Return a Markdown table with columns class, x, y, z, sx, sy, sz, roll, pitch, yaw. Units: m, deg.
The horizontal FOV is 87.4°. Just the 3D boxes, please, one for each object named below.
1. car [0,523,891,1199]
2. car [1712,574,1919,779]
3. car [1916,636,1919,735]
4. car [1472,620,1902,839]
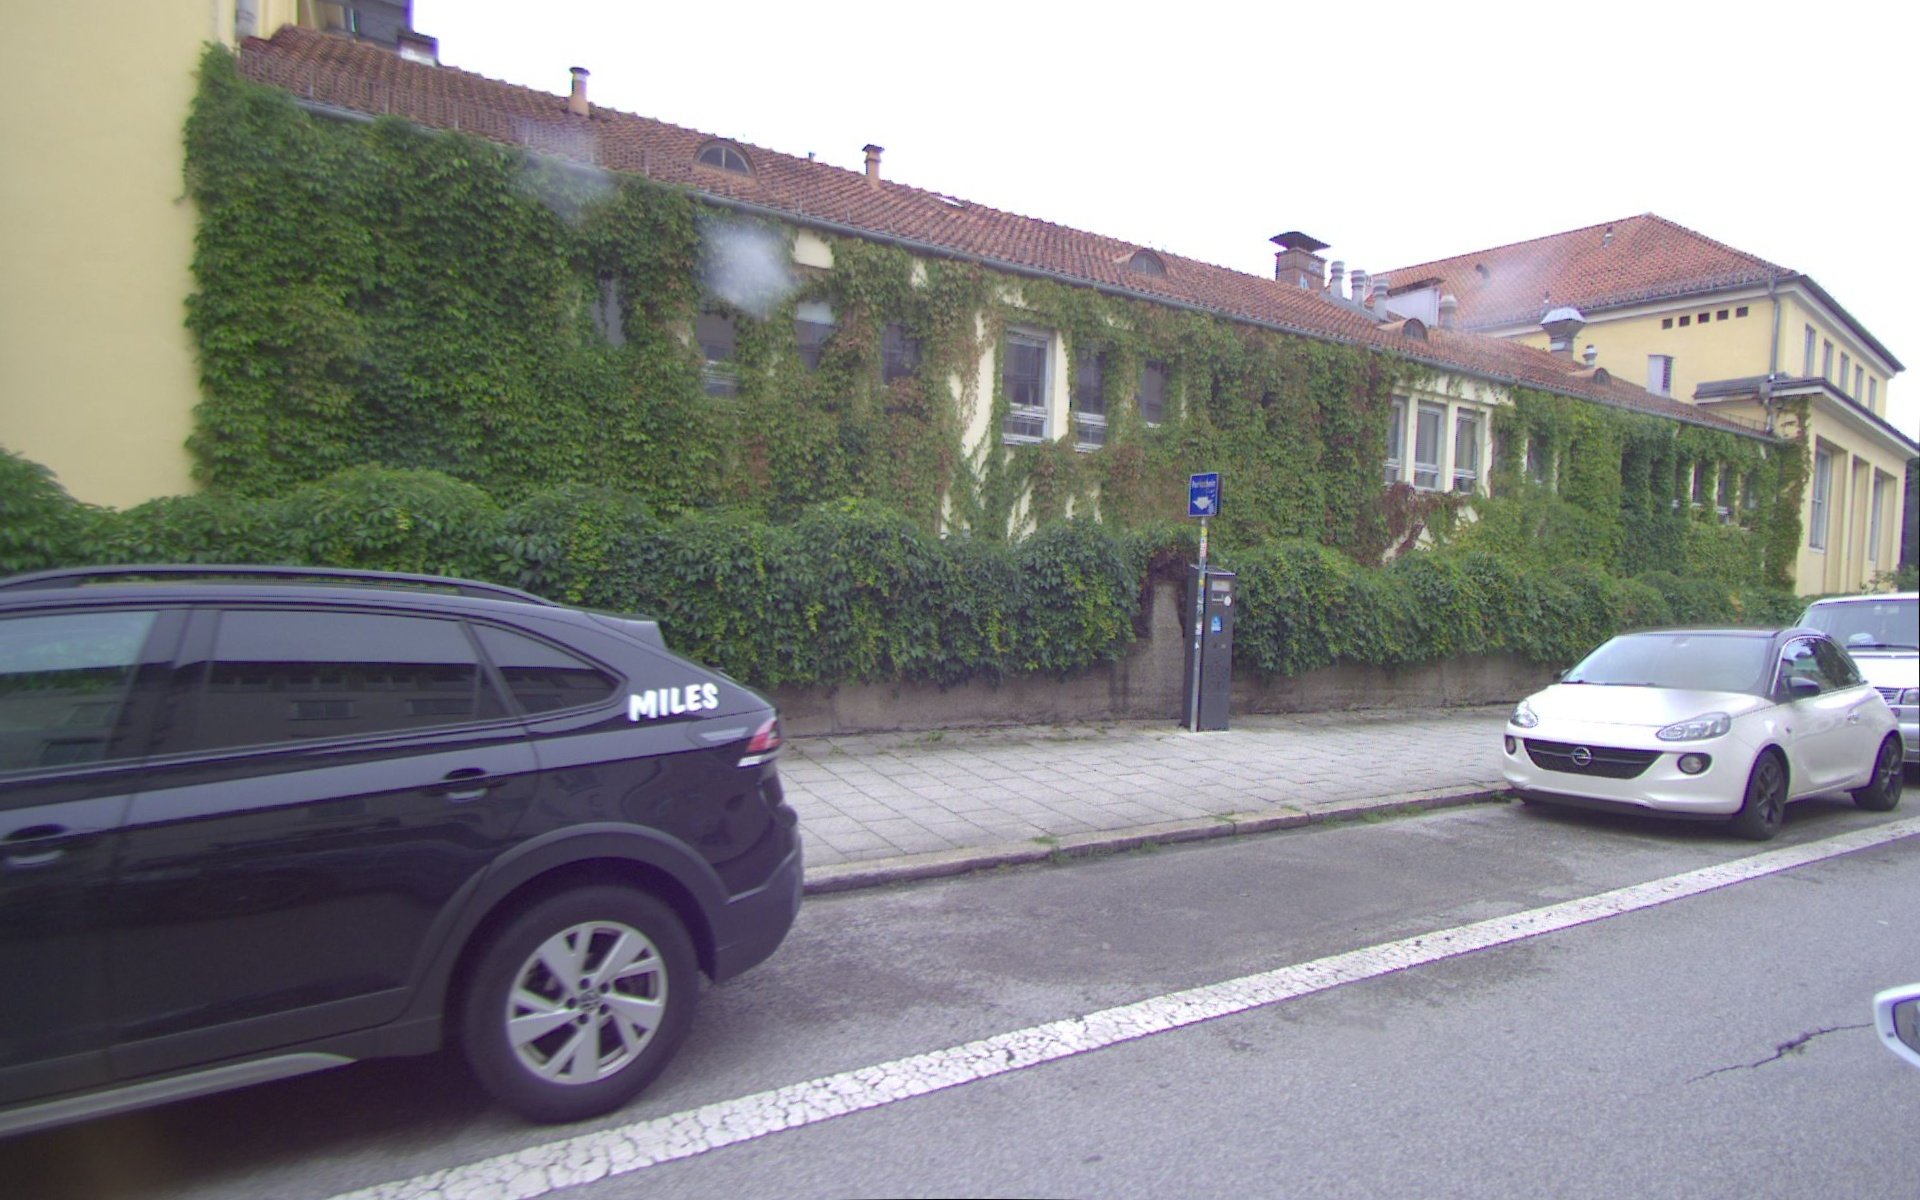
| class | x | y | z | sx | sy | sz | roll | pitch | yaw |
| --- | --- | --- | --- | --- | --- | --- | --- | --- | --- |
| car | -2.424 | 0.619 | 2.880 | 4.175 | 1.500 | 1.707 | 1 | -3 | -33 |
| car | 10.285 | 0.754 | 10.741 | 4.824 | 1.822 | 1.884 | 1 | -3 | -31 |
| car | 15.182 | 1.194 | 13.813 | 4.439 | 1.395 | 1.795 | 2 | -3 | -31 |
| car | 5.982 | 0.886 | 8.198 | 3.519 | 1.428 | 1.658 | 1 | -1 | -32 |
